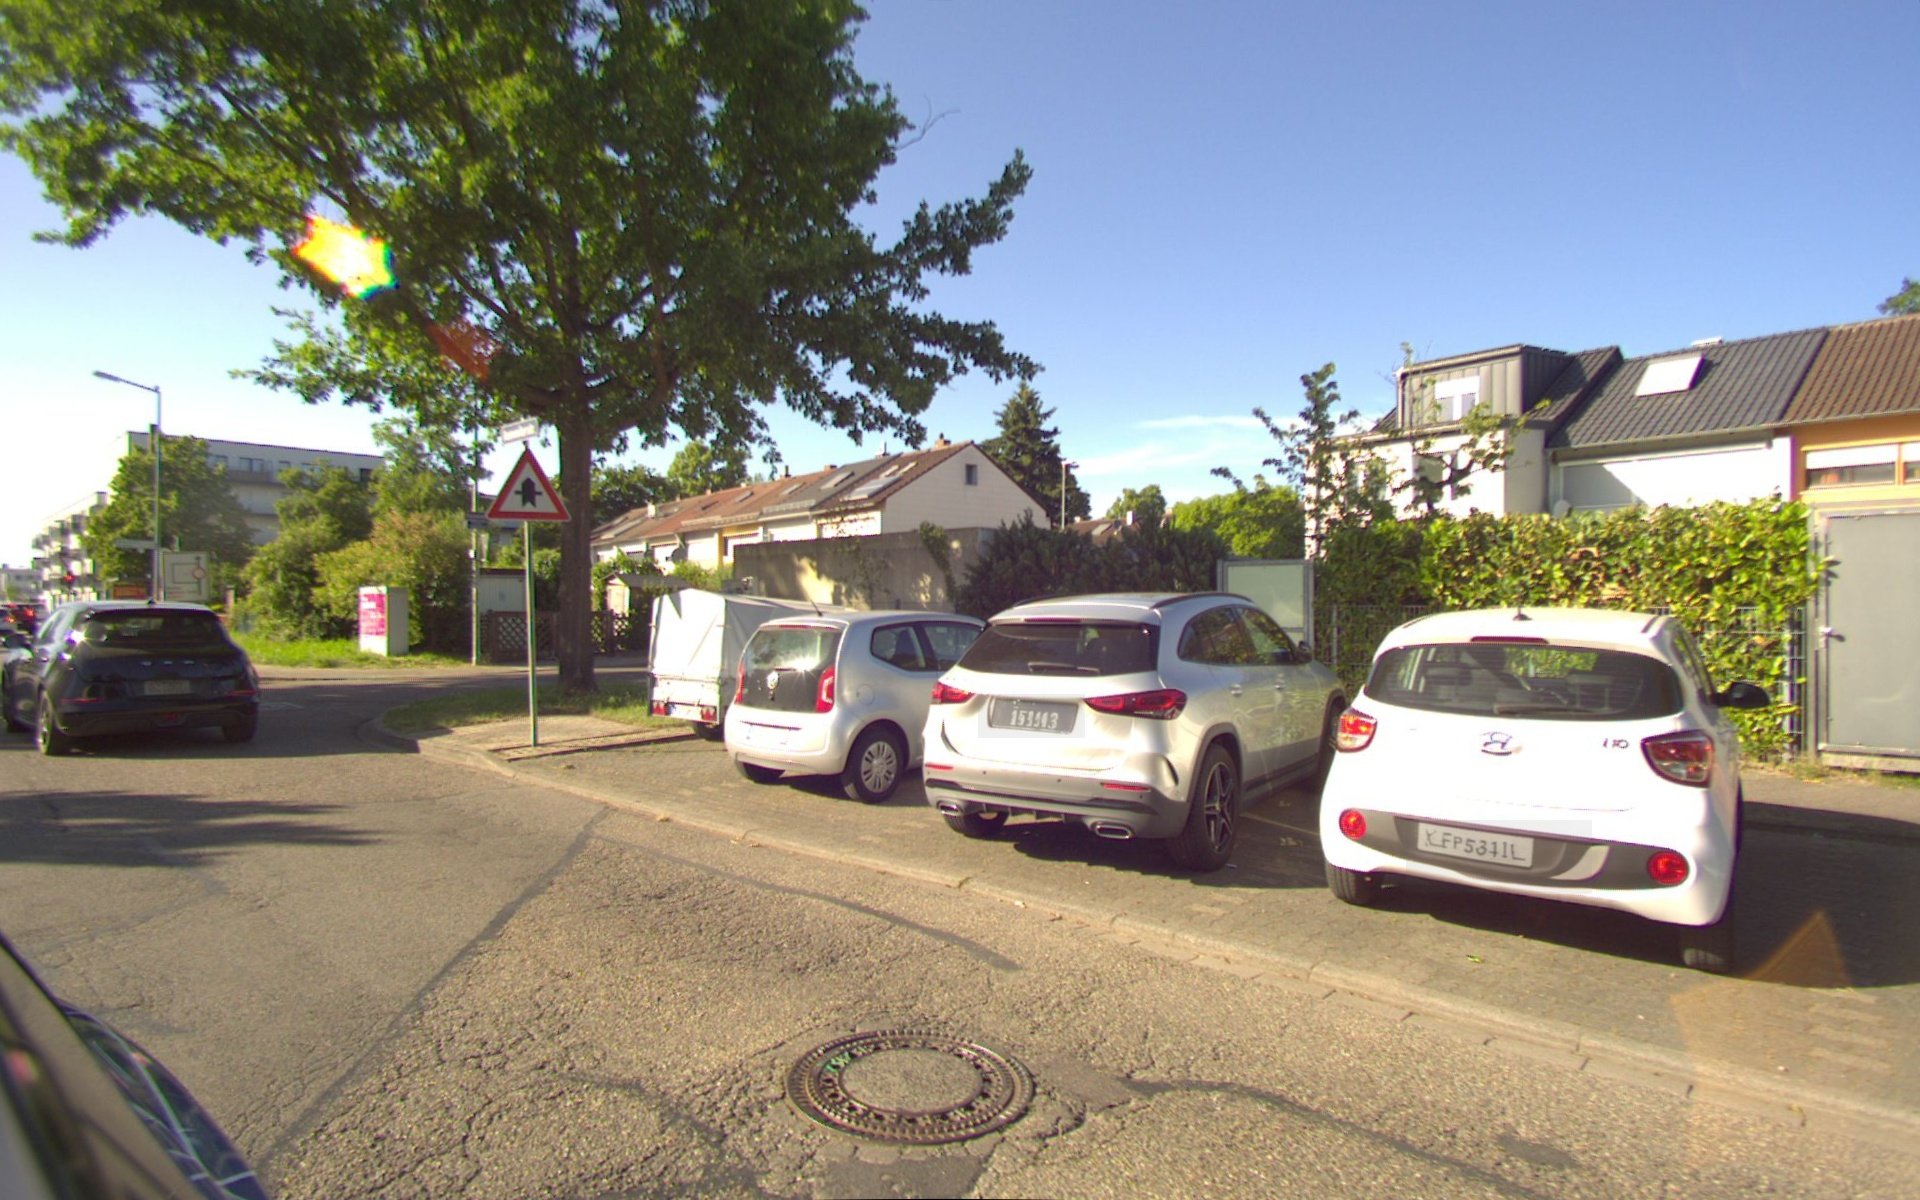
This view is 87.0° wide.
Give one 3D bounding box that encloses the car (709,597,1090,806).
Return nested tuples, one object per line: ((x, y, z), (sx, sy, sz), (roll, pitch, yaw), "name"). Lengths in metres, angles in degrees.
((-0.419, 0.735, 9.120), (1.615, 1.489, 3.260), (1, 1, 41), "car")

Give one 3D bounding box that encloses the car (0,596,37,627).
((-46.634, 0.550, 49.633), (3.851, 1.489, 1.741), (0, -1, 43), "car")

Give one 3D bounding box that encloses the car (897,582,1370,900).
((1.492, 0.681, 7.221), (1.917, 1.586, 3.920), (0, 1, 34), "car")

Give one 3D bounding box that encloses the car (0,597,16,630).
((-42.468, 0.591, 44.071), (3.851, 1.408, 1.741), (0, -1, 43), "car")

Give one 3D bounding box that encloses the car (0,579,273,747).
((-9.476, 0.606, 11.510), (3.944, 1.552, 1.720), (2, -2, 41), "car")

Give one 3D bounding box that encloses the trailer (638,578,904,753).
((-1.988, 0.623, 11.167), (1.297, 1.659, 2.734), (2, 1, 36), "trailer")

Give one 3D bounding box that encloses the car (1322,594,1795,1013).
((3.443, 0.730, 5.590), (1.706, 1.507, 3.480), (1, 1, 38), "car")

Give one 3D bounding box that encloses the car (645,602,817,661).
((-5.908, 0.811, 26.352), (3.940, 1.413, 1.894), (2, -1, -44), "car")
